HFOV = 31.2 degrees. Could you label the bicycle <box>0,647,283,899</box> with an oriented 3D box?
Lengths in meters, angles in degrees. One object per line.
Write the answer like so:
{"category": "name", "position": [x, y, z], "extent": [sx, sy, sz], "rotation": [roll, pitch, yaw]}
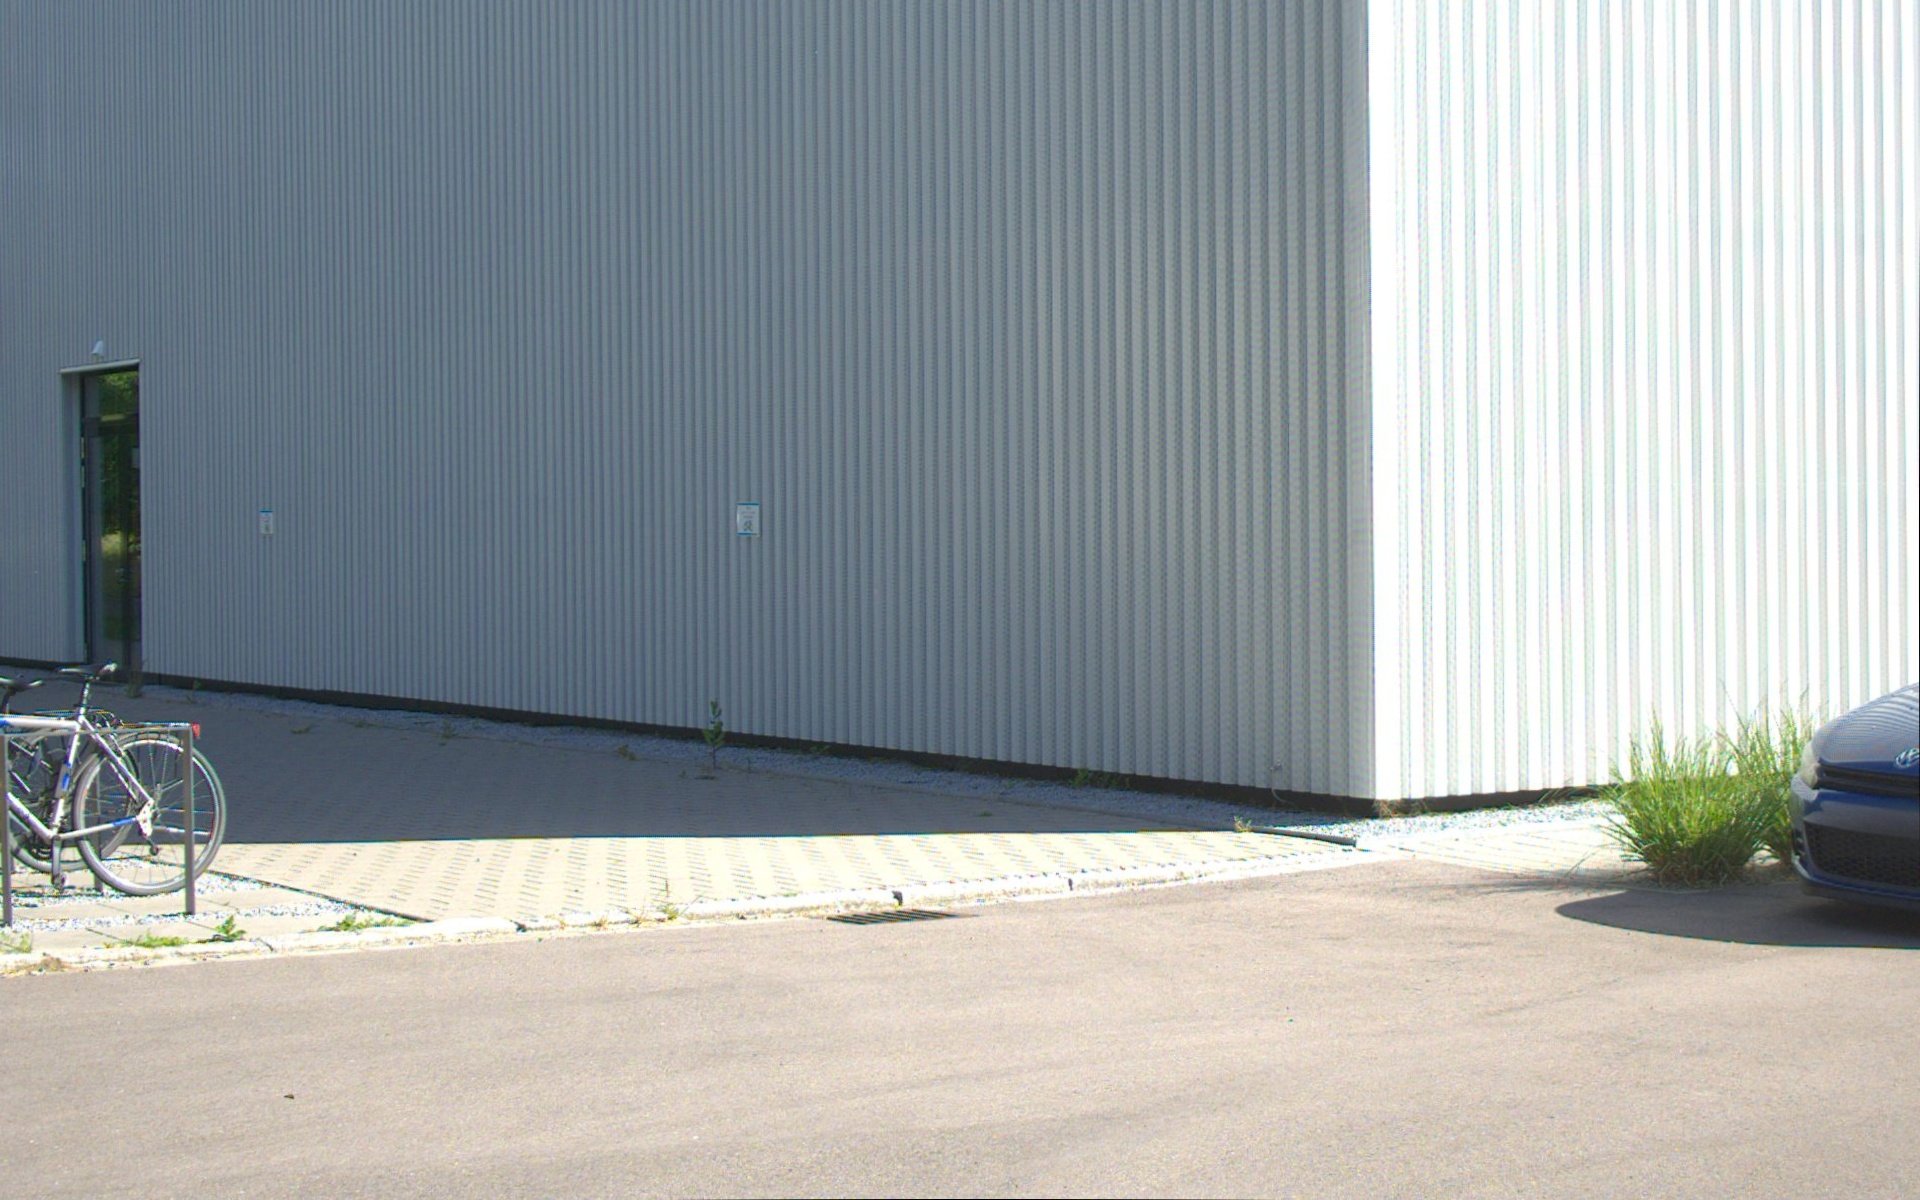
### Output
{"category": "bicycle", "position": [-3.812, 0.725, 14.371], "extent": [1.883, 0.974, 0.433], "rotation": [-2, 2, -33]}

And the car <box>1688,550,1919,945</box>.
{"category": "car", "position": [5.001, 0.498, 13.536], "extent": [4.155, 1.379, 1.755], "rotation": [-1, 2, -33]}

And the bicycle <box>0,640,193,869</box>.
{"category": "bicycle", "position": [-4.426, 0.703, 15.397], "extent": [1.883, 0.974, 0.433], "rotation": [-2, 2, -33]}

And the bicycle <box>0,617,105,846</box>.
{"category": "bicycle", "position": [-5.111, 0.657, 16.529], "extent": [1.883, 1.078, 0.433], "rotation": [-2, 2, -33]}
